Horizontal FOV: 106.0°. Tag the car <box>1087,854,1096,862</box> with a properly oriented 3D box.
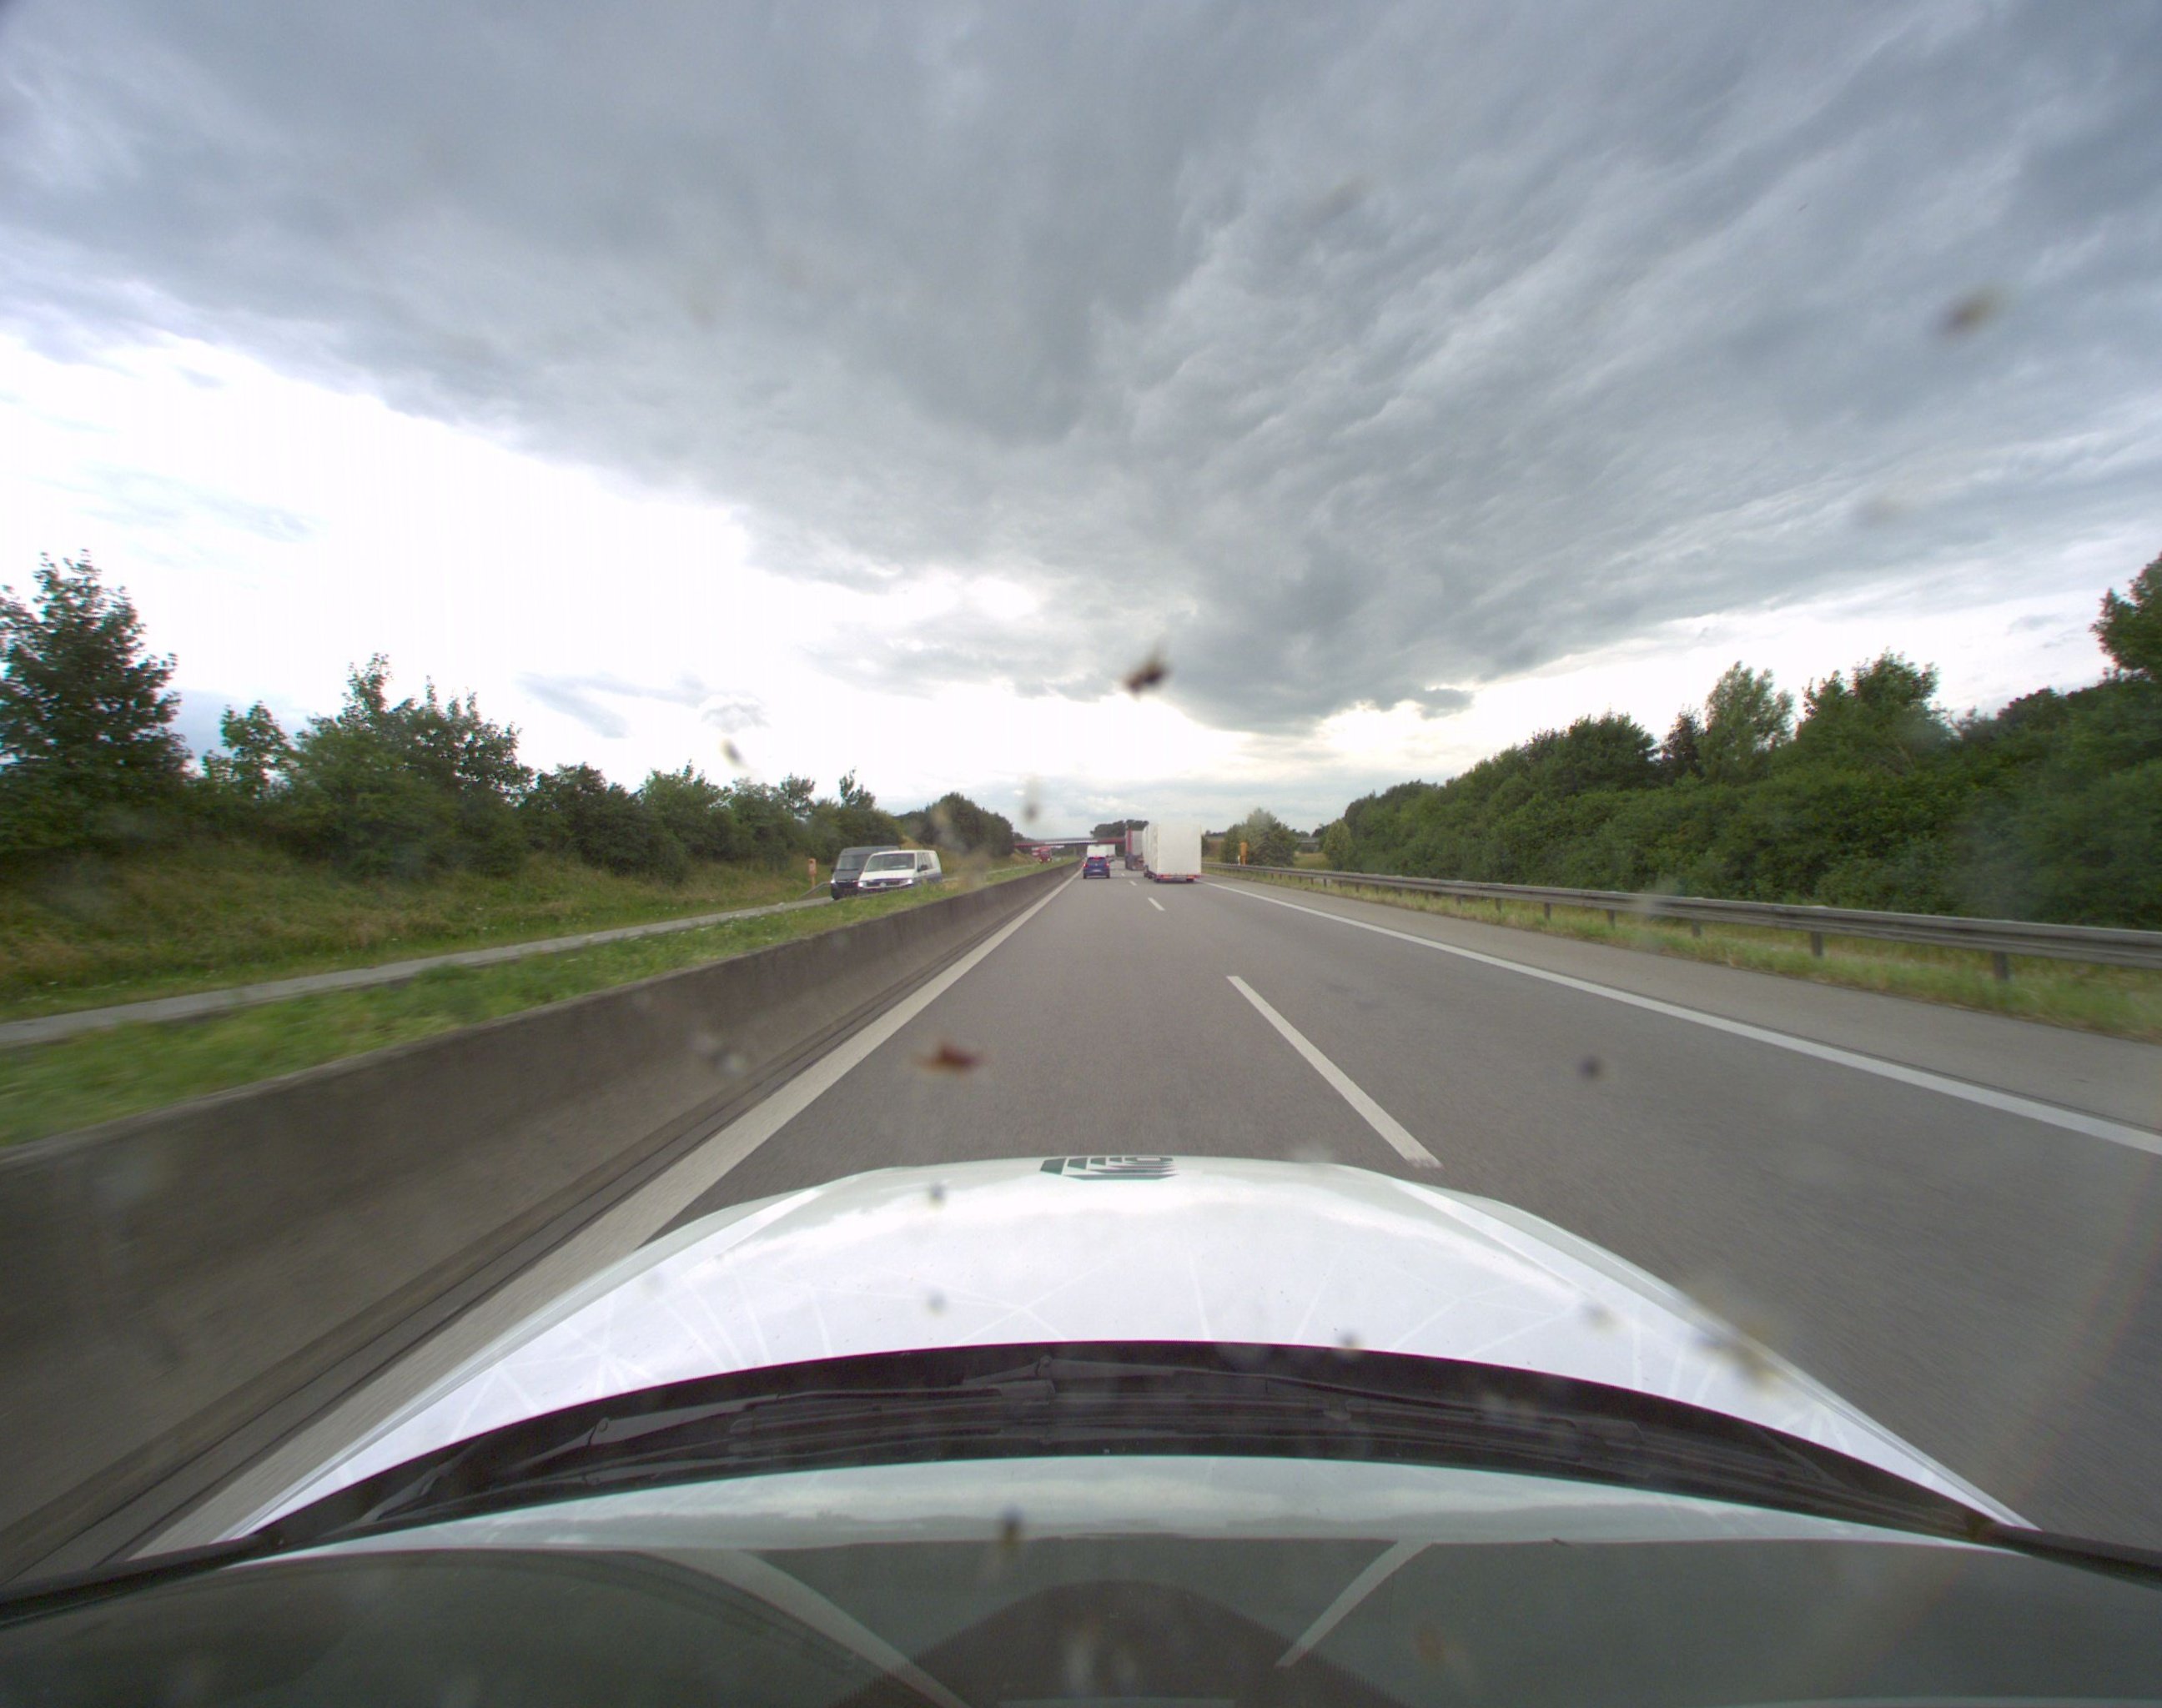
[{"bbox_3d":[2.397,0.956,187.965,1.929,1.643,4.902,-2,0,0],"label":"car"}]

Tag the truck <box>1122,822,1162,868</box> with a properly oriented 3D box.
[{"bbox_3d":[5.769,-0.845,78.895,2.665,4.045,11.102,-2,0,-1],"label":"truck"}]

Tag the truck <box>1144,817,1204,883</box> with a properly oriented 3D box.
[{"bbox_3d":[4.859,-0.191,43.722,2.407,3.222,7.143,-1,0,0],"label":"truck"}]

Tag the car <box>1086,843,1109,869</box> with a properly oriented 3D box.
[{"bbox_3d":[1.592,0.219,81.702,2.123,2.482,5.838,-2,0,0],"label":"car"}]

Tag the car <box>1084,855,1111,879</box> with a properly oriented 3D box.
[{"bbox_3d":[1.099,0.801,52.433,1.657,1.407,3.650,-1,0,2],"label":"car"}]

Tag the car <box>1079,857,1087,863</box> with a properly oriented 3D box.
[{"bbox_3d":[0.524,1.606,222.837,1.987,1.684,3.999,-1,0,0],"label":"car"}]

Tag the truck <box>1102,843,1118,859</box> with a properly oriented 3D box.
[{"bbox_3d":[6.856,-0.653,192.109,3.101,3.689,9.319,-4,0,-1],"label":"truck"}]

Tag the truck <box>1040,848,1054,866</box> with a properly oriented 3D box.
[{"bbox_3d":[-8.118,0.671,193.795,2.697,4.088,5.164,-4,0,0],"label":"truck"}]

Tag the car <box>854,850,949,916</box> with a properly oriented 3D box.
[{"bbox_3d":[-5.984,0.885,27.869,1.972,2.013,5.131,-1,0,1],"label":"car"}]

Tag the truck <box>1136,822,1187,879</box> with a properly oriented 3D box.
[{"bbox_3d":[4.915,-0.184,50.917,2.422,3.243,7.247,-1,0,0],"label":"truck"}]

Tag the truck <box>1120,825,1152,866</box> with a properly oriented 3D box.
[{"bbox_3d":[5.657,-0.875,84.403,2.666,4.045,5.509,-2,0,-1],"label":"truck"}]

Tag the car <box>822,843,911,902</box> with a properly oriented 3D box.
[{"bbox_3d":[-10.067,0.823,38.937,2.162,2.465,6.725,-4,0,1],"label":"car"}]
